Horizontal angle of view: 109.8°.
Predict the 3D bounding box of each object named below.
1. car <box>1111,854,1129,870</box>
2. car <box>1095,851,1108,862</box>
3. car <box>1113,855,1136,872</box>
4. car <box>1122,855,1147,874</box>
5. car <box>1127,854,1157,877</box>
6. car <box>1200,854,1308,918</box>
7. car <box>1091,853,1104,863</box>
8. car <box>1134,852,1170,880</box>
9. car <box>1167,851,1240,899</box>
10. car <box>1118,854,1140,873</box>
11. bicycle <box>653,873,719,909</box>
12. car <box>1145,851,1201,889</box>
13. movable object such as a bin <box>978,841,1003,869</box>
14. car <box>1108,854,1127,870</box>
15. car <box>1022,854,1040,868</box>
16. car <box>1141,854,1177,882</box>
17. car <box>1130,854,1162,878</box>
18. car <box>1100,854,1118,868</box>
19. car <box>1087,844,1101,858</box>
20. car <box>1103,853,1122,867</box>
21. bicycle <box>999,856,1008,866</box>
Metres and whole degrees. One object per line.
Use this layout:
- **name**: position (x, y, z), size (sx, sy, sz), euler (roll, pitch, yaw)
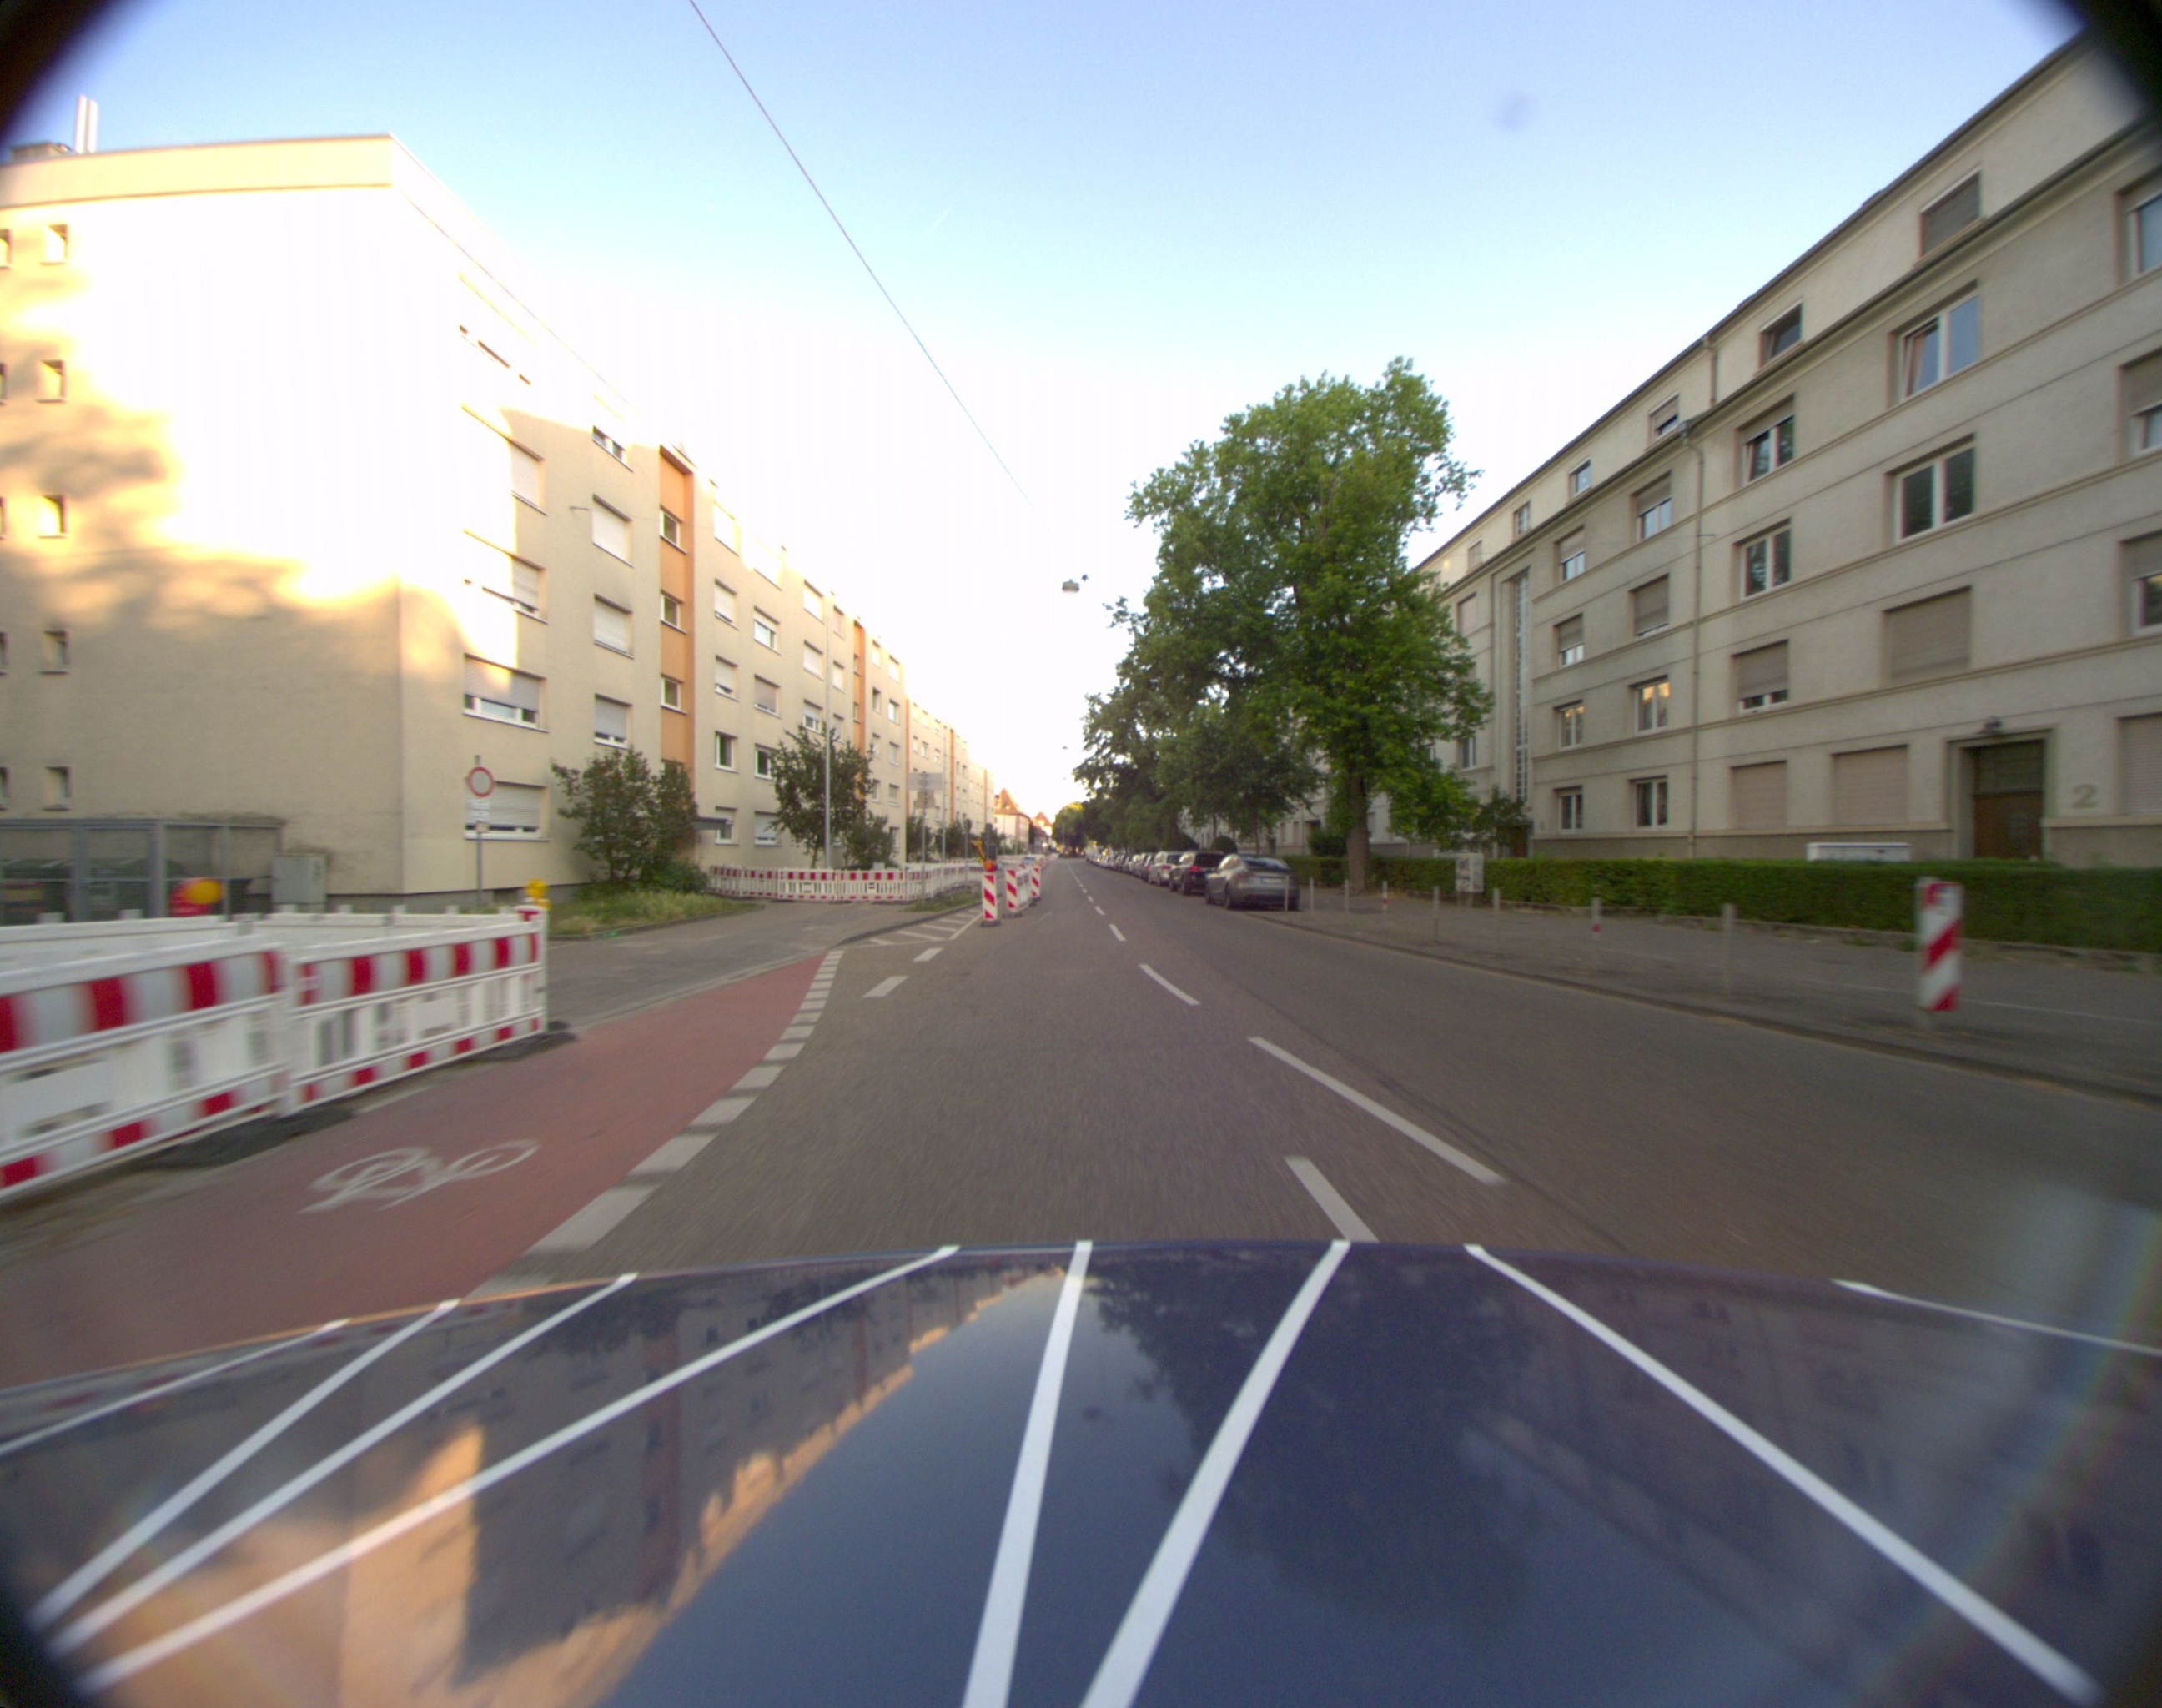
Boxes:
- **car**: position (3.864, 0.789, 75.406), size (1.594, 1.520, 2.921), euler (3, 0, 1)
- **car**: position (2.977, 0.387, 110.933), size (1.757, 1.471, 3.944), euler (3, 0, 0)
- **car**: position (4.029, 0.832, 70.596), size (1.594, 1.458, 4.100), euler (3, 0, -3)
- **car**: position (4.354, 0.850, 62.133), size (1.594, 1.396, 4.180), euler (3, 0, -1)
- **car**: position (4.526, 0.816, 57.005), size (1.595, 1.530, 4.205), euler (3, 0, -4)
- **car**: position (4.931, 0.838, 22.350), size (1.959, 1.607, 4.604), euler (2, 0, -2)
- **car**: position (2.612, 0.566, 120.812), size (1.757, 1.463, 4.223), euler (3, 0, 0)
- **car**: position (4.435, 0.717, 48.078), size (1.712, 1.591, 4.115), euler (3, 0, -1)
- **car**: position (4.759, 0.754, 30.222), size (1.959, 1.709, 4.769), euler (2, 0, -2)
- **car**: position (4.151, 0.779, 66.554), size (1.527, 1.520, 3.163), euler (3, 0, -3)
- **bicycle**: position (-11.776, 1.088, 22.720), size (0.544, 0.962, 1.817), euler (0, 0, 22)
- **car**: position (4.475, 0.746, 37.699), size (1.852, 1.681, 4.857), euler (2, 0, -3)
- **movable object such as a bin**: position (-8.842, 0.090, 74.644), size (1.938, 2.677, 2.892), euler (0, 1, 3)
- **car**: position (3.768, 0.797, 79.583), size (1.594, 1.496, 3.798), euler (3, 0, -2)
- **car**: position (-6.105, 0.819, 93.324), size (1.781, 1.482, 4.572), euler (4, 0, 0)
- **car**: position (4.369, 0.760, 43.106), size (1.736, 1.488, 4.271), euler (2, 0, 3)
- **car**: position (4.472, 0.807, 52.609), size (1.711, 1.443, 3.842), euler (3, 0, -1)
- **car**: position (3.358, 0.799, 90.724), size (1.697, 1.451, 4.143), euler (3, 0, -3)
- **car**: position (2.310, -0.504, 140.113), size (2.185, 2.447, 6.101), euler (3, 0, -1)
- **car**: position (3.535, 0.703, 85.905), size (1.697, 1.451, 4.482), euler (3, 0, -2)
- **bicycle**: position (-9.066, 0.818, 88.829), size (0.558, 1.165, 1.813), euler (-1, 1, -21)
